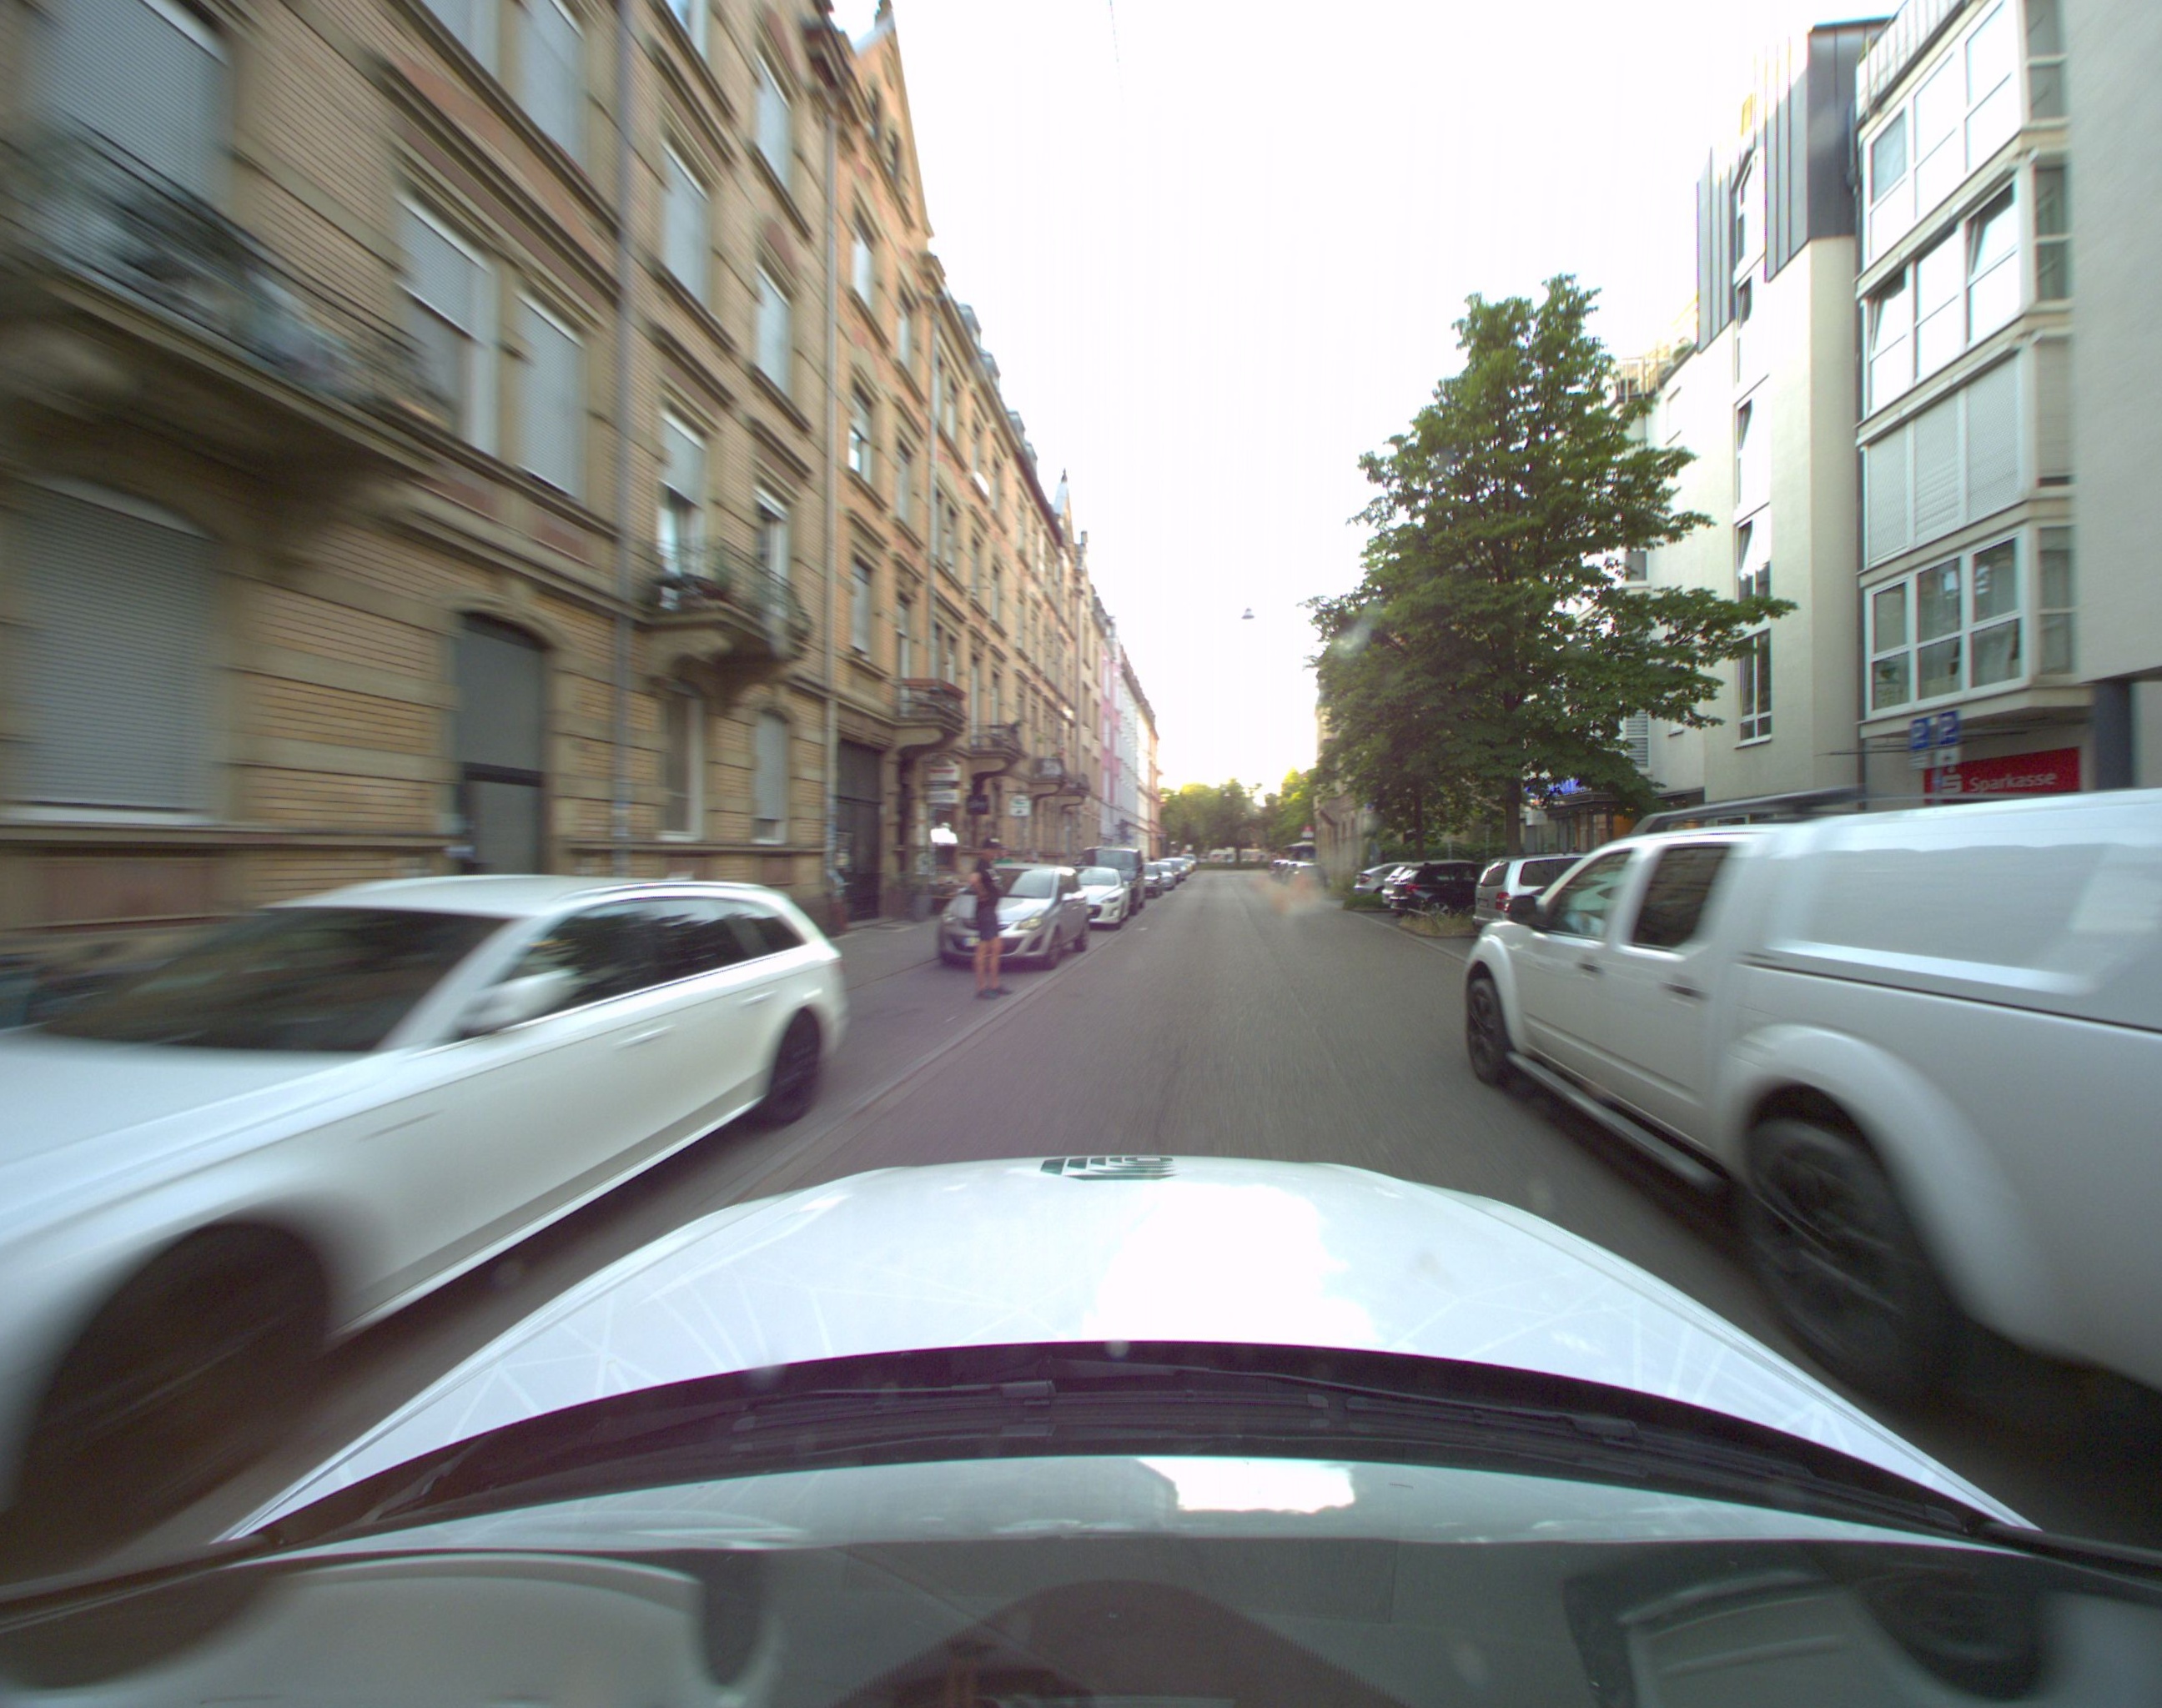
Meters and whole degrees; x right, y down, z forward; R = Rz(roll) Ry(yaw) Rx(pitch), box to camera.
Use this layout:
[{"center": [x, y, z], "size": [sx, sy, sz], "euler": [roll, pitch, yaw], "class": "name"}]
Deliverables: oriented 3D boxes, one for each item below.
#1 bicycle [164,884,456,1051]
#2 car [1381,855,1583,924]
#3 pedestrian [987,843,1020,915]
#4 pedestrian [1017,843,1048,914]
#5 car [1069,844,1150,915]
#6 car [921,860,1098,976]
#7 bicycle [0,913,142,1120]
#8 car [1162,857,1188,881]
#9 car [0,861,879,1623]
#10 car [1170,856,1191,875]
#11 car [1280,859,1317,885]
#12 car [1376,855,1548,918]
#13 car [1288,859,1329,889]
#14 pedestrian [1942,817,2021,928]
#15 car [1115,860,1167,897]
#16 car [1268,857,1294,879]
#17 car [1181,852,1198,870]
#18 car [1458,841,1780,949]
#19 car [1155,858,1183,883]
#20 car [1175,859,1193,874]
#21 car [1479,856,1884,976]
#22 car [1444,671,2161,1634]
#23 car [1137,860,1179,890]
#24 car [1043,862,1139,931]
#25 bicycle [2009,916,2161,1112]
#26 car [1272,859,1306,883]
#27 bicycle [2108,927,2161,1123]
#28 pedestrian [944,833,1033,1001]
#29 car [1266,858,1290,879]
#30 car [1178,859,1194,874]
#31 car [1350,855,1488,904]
[{"center": [-5.663, 0.769, 6.132], "size": [0.590, 1.027, 1.625], "euler": [0, 0, 2], "class": "bicycle"}, {"center": [9.503, 0.825, 19.584], "size": [3.965, 1.456, 1.832], "euler": [-2, 0, 7], "class": "car"}, {"center": [-1.970, 0.621, 20.896], "size": [0.577, 1.771, 0.999], "euler": [3, 1, 6], "class": "pedestrian"}, {"center": [-1.257, 0.615, 21.048], "size": [0.602, 1.772, 0.778], "euler": [3, 1, 6], "class": "pedestrian"}, {"center": [1.000, 0.725, 25.318], "size": [1.982, 1.924, 4.961], "euler": [2, 0, 7], "class": "car"}, {"center": [-0.925, 0.863, 12.855], "size": [1.706, 1.457, 4.012], "euler": [2, 0, 11], "class": "car"}, {"center": [-5.985, 0.875, 4.068], "size": [0.562, 1.036, 1.628], "euler": [0, 0, 9], "class": "bicycle"}, {"center": [6.848, 1.050, 59.176], "size": [1.835, 1.659, 4.260], "euler": [0, -1, 7], "class": "car"}, {"center": [-2.651, 0.776, 3.525], "size": [1.747, 1.412, 4.521], "euler": [1, 0, 10], "class": "car"}, {"center": [9.208, 1.032, 75.168], "size": [1.688, 1.621, 4.032], "euler": [2, 0, 9], "class": "car"}, {"center": [13.364, 1.052, 50.231], "size": [1.666, 1.456, 4.240], "euler": [-3, -1, 9], "class": "car"}, {"center": [10.110, 0.848, 21.829], "size": [3.776, 1.452, 1.737], "euler": [-3, -1, 4], "class": "car"}, {"center": [12.328, 1.066, 44.261], "size": [1.666, 1.429, 4.491], "euler": [-4, -1, 10], "class": "car"}, {"center": [14.610, 0.298, 13.229], "size": [0.624, 1.753, 0.587], "euler": [1, -2, -2], "class": "pedestrian"}, {"center": [2.618, 1.010, 34.619], "size": [1.726, 1.418, 4.790], "euler": [2, -1, 9], "class": "car"}, {"center": [14.868, 1.038, 60.753], "size": [1.665, 1.501, 3.913], "euler": [-3, -1, 11], "class": "car"}, {"center": [12.635, 0.848, 95.271], "size": [1.802, 1.977, 4.193], "euler": [2, 0, 5], "class": "car"}, {"center": [9.263, 0.707, 14.374], "size": [4.373, 1.648, 1.751], "euler": [-2, -1, 9], "class": "car"}, {"center": [5.795, 1.051, 53.183], "size": [1.626, 1.565, 3.790], "euler": [1, 0, 9], "class": "car"}, {"center": [10.308, 1.216, 81.342], "size": [1.689, 1.426, 4.030], "euler": [2, 0, 7], "class": "car"}, {"center": [8.383, 0.838, 11.707], "size": [4.404, 1.455, 1.781], "euler": [-2, -1, 3], "class": "car"}, {"center": [3.408, 0.605, 3.761], "size": [1.899, 1.853, 5.284], "euler": [0, -1, 9], "class": "car"}, {"center": [4.178, 1.093, 43.658], "size": [1.823, 1.458, 4.218], "euler": [3, 0, 10], "class": "car"}, {"center": [0.380, 0.960, 20.280], "size": [1.774, 1.423, 4.495], "euler": [2, 0, 8], "class": "car"}, {"center": [6.722, 0.882, 4.696], "size": [1.760, 1.022, 0.567], "euler": [-4, -2, 12], "class": "bicycle"}, {"center": [14.209, 1.147, 55.743], "size": [1.668, 1.456, 3.807], "euler": [-3, -1, 6], "class": "car"}, {"center": [6.602, 0.877, 4.086], "size": [1.708, 1.031, 0.669], "euler": [-4, -2, 12], "class": "bicycle"}, {"center": [-1.012, 0.668, 9.107], "size": [0.549, 1.755, 1.027], "euler": [0, -2, 20], "class": "pedestrian"}, {"center": [16.085, 1.157, 66.516], "size": [1.665, 1.501, 4.030], "euler": [-3, -1, 11], "class": "car"}, {"center": [11.251, 1.302, 87.212], "size": [1.689, 1.552, 4.030], "euler": [2, 0, 7], "class": "car"}, {"center": [11.536, 0.868, 28.046], "size": [4.059, 1.452, 1.888], "euler": [-3, -1, 11], "class": "car"}]
